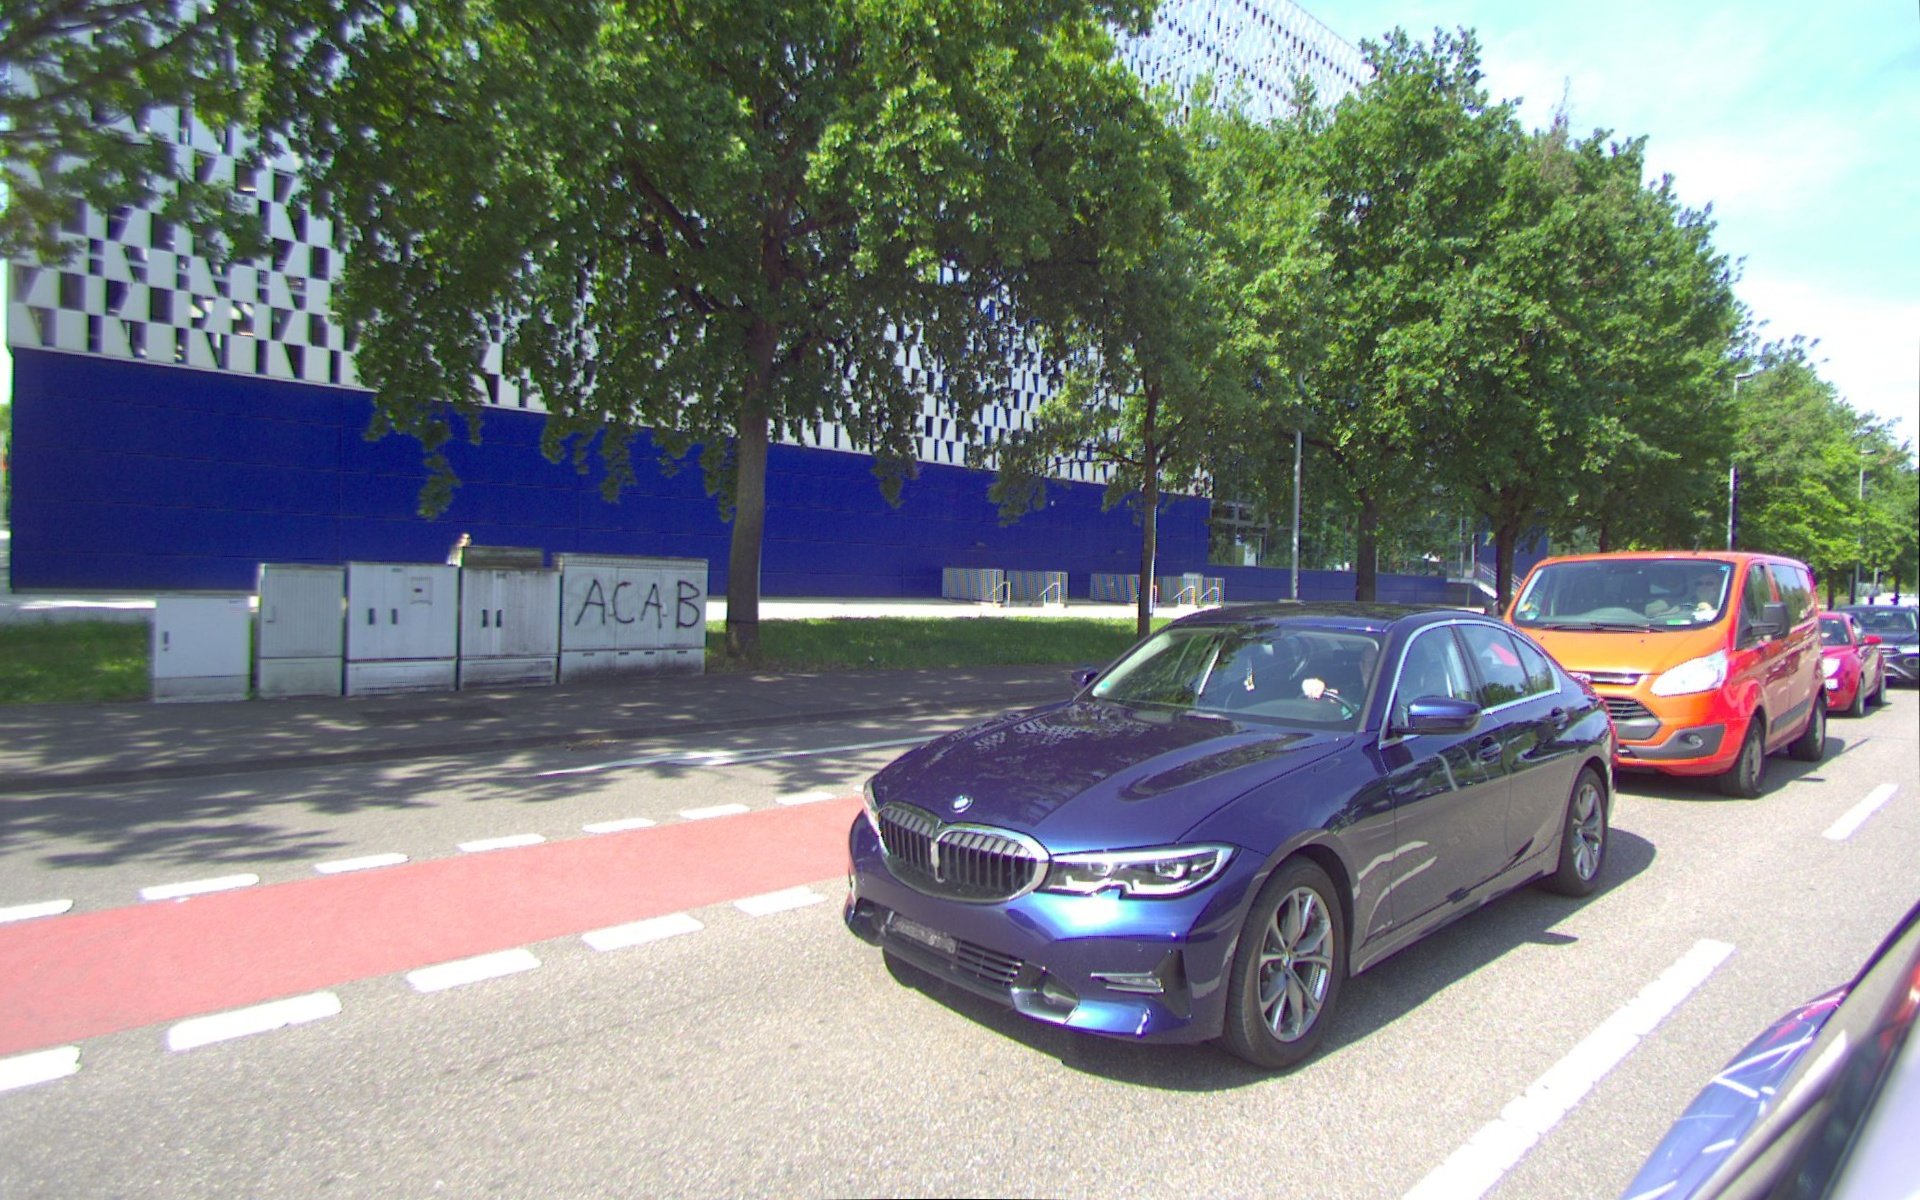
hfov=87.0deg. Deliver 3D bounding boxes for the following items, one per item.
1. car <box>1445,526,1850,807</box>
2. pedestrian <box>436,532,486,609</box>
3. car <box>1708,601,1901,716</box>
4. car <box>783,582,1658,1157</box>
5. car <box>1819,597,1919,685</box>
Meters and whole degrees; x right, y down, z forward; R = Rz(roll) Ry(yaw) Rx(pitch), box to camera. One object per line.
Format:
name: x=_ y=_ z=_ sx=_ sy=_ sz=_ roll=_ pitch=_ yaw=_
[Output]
car: x=6.479 y=0.453 z=9.294 sx=4.727 sy=1.931 sz=2.012 roll=0 pitch=0 yaw=-42
pedestrian: x=-10.420 y=-0.610 z=21.137 sx=0.767 sy=1.565 sz=0.680 roll=1 pitch=2 yaw=-41
car: x=12.440 y=0.750 z=14.829 sx=3.849 sy=1.440 sz=1.690 roll=0 pitch=1 yaw=-43
car: x=1.571 y=0.680 z=4.740 sx=4.460 sy=1.447 sz=1.798 roll=0 pitch=1 yaw=-42
car: x=18.075 y=0.743 z=19.644 sx=3.932 sy=1.559 sz=1.647 roll=0 pitch=-1 yaw=-43
